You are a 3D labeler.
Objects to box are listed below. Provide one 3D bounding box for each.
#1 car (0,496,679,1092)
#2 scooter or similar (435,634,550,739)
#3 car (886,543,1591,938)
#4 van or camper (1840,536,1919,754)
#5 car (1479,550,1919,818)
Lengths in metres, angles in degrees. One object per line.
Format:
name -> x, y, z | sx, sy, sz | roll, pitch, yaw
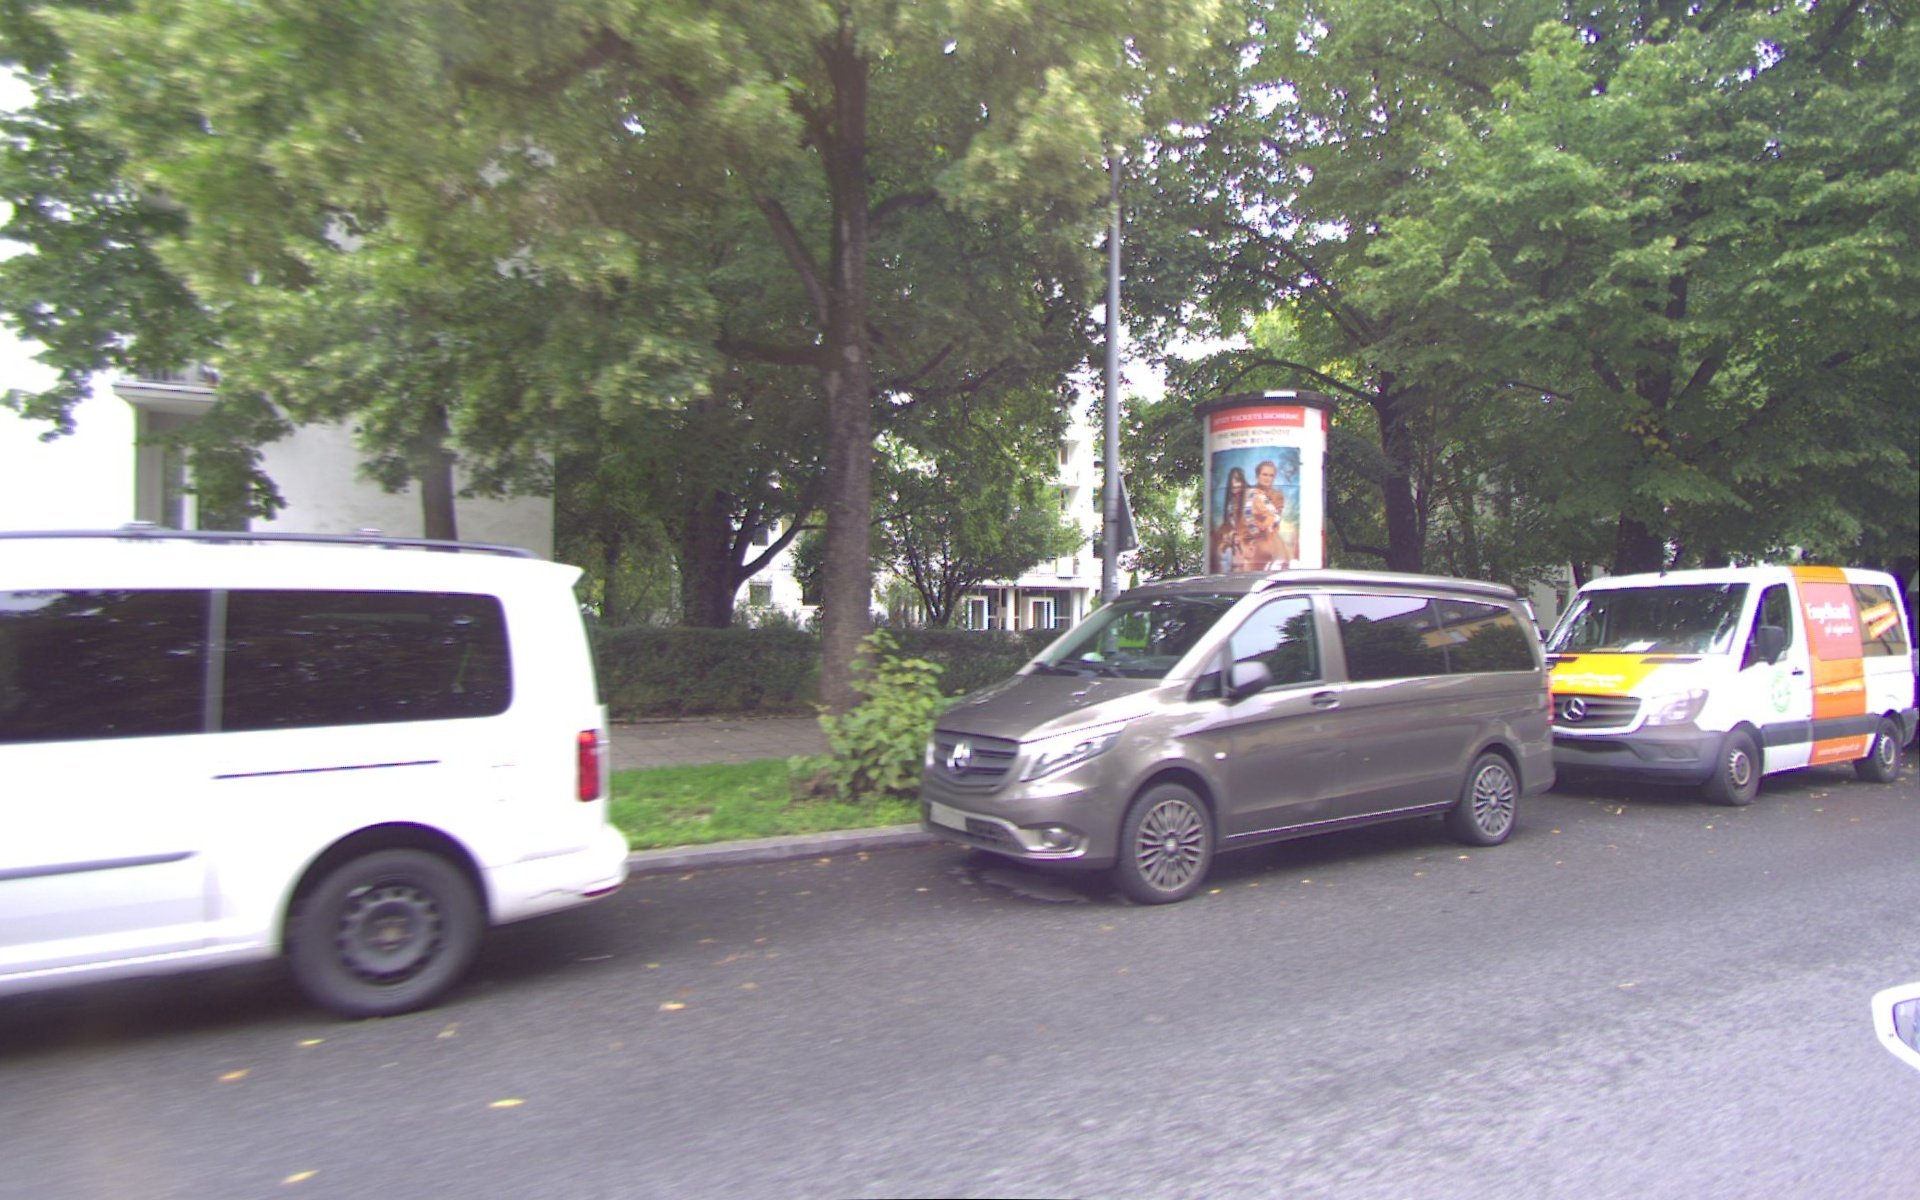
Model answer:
car -> -3.747, 0.663, 4.005 | 4.789, 1.943, 1.822 | 1, -3, -28
scooter or similar -> -5.538, 1.010, 11.941 | 1.199, 1.209, 0.397 | 1, -2, -25
car -> 2.177, 0.798, 7.186 | 5.150, 1.958, 1.878 | 2, -3, -32
van or camper -> 15.796, 0.676, 15.102 | 5.939, 2.983, 1.992 | 2, -3, -30
car -> 8.076, 0.819, 10.784 | 5.181, 2.302, 1.938 | 2, -3, -30
